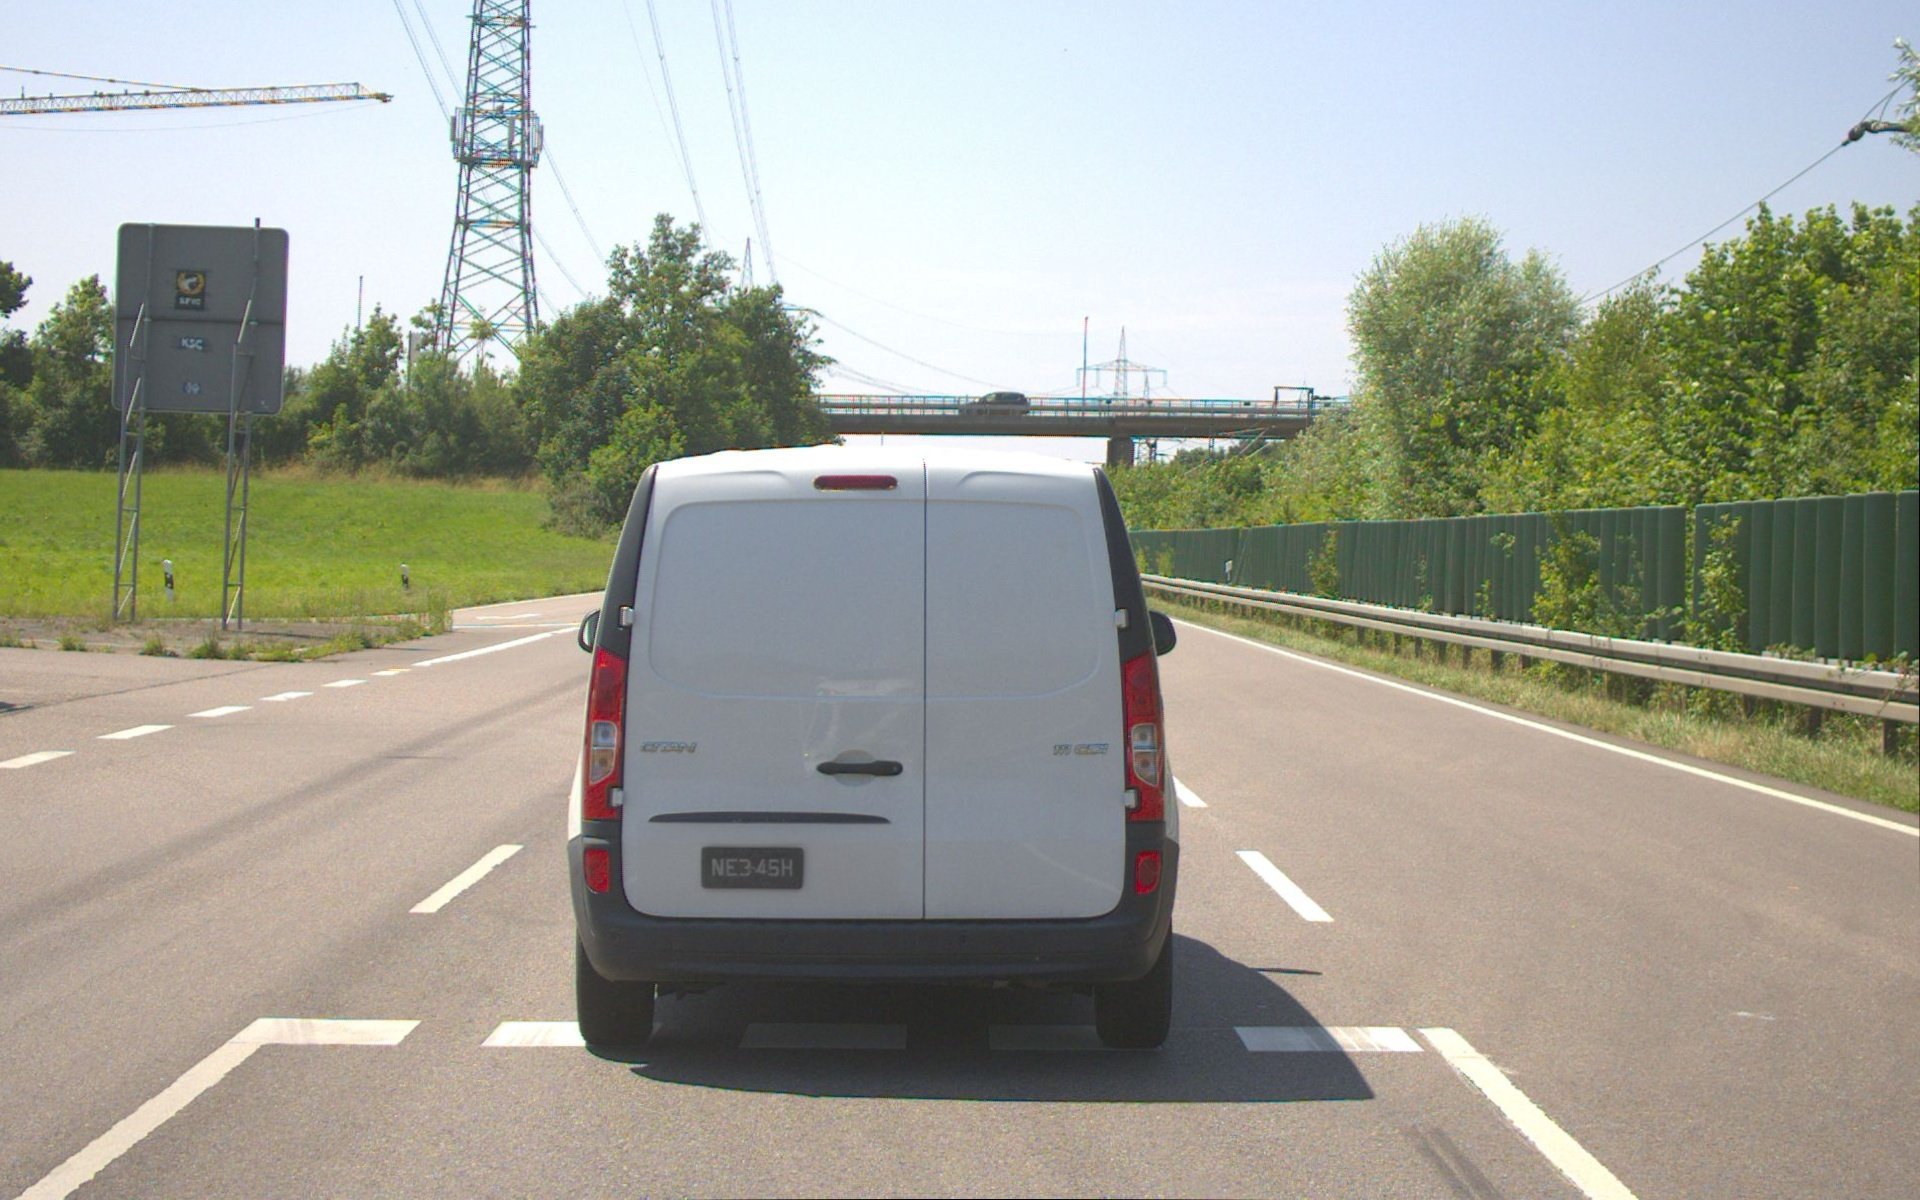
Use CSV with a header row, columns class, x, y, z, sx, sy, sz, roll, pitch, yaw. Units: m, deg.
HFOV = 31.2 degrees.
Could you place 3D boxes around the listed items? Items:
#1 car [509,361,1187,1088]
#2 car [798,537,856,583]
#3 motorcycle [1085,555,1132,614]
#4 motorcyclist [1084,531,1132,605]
class,x,y,z,sx,sy,sz,roll,pitch,yaw
car,-0.331,0.304,11.381,1.827,1.964,4.000,1,1,-1
car,-4.436,-1.343,115.362,1.782,1.459,4.000,1,1,-1
motorcycle,3.023,-0.329,70.190,0.790,1.153,1.901,1,1,-2
motorcyclist,3.016,-0.658,70.221,0.889,1.471,1.002,1,1,-1
